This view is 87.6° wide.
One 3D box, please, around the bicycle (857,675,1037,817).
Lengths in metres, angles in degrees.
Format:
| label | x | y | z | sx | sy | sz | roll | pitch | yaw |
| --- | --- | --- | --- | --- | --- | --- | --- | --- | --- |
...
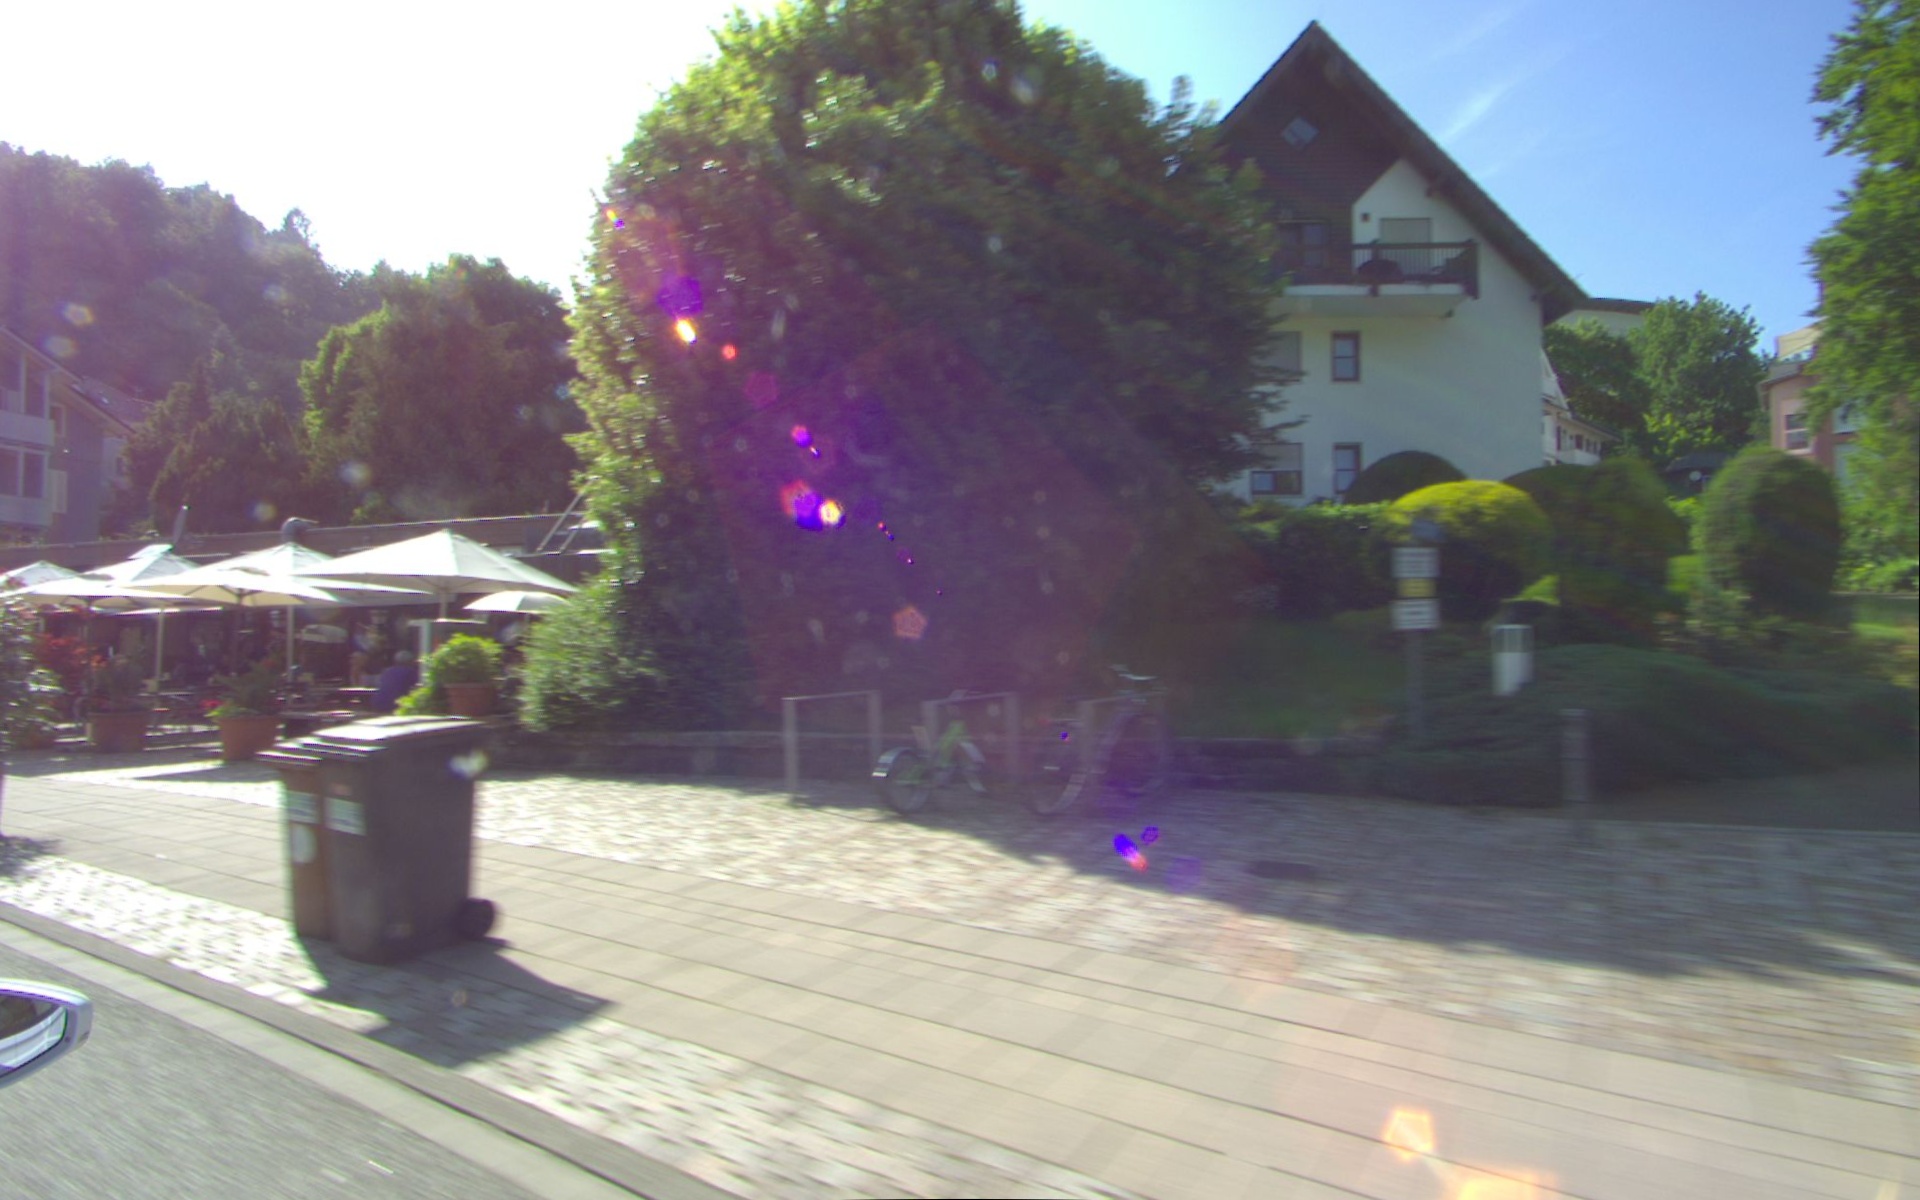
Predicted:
| label | x | y | z | sx | sy | sz | roll | pitch | yaw |
| --- | --- | --- | --- | --- | --- | --- | --- | --- | --- |
| bicycle | -0.070 | 1.122 | 7.986 | 1.530 | 0.921 | 0.381 | -2 | 1 | -40 |

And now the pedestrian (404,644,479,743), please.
| label | x | y | z | sx | sy | sz | roll | pitch | yaw |
| --- | --- | --- | --- | --- | --- | --- | --- | --- | --- |
| pedestrian | -7.164 | 1.276 | 13.852 | 0.633 | 1.301 | 0.649 | -1 | 0 | 16 |

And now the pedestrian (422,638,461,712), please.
| label | x | y | z | sx | sy | sz | roll | pitch | yaw |
| --- | --- | --- | --- | --- | --- | --- | --- | --- | --- |
| pedestrian | -9.259 | 1.332 | 17.883 | 0.500 | 1.284 | 0.408 | -1 | 0 | 28 |

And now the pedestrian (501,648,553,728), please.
| label | x | y | z | sx | sy | sz | roll | pitch | yaw |
| --- | --- | --- | --- | --- | --- | --- | --- | --- | --- |
| pedestrian | -7.046 | 1.418 | 16.299 | 0.690 | 1.247 | 0.505 | -1 | 0 | 37 |

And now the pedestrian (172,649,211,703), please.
| label | x | y | z | sx | sy | sz | roll | pitch | yaw |
| --- | --- | --- | --- | --- | --- | --- | --- | --- | --- |
| pedestrian | -17.941 | 1.765 | 23.377 | 0.680 | 1.224 | 0.694 | 0 | -1 | -41 |

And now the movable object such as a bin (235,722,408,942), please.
| label | x | y | z | sx | sy | sz | roll | pitch | yaw |
| --- | --- | --- | --- | --- | --- | --- | --- | --- | --- |
| movable object such as a bin | -3.138 | 1.104 | 4.932 | 0.554 | 0.924 | 0.524 | 0 | 0 | 30 |

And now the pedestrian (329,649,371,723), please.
| label | x | y | z | sx | sy | sz | roll | pitch | yaw |
| --- | --- | --- | --- | --- | --- | --- | --- | --- | --- |
| pedestrian | -10.974 | 1.538 | 18.021 | 0.432 | 1.282 | 0.470 | -1 | 0 | 14 |

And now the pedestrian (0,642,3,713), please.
| label | x | y | z | sx | sy | sz | roll | pitch | yaw |
| --- | --- | --- | --- | --- | --- | --- | --- | --- | --- |
| pedestrian | -19.064 | 1.507 | 19.185 | 0.797 | 1.399 | 0.700 | 0 | -1 | -13 |

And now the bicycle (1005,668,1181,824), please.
| label | x | y | z | sx | sy | sz | roll | pitch | yaw |
| --- | --- | --- | --- | --- | --- | --- | --- | --- | --- |
| bicycle | 1.044 | 1.067 | 7.636 | 1.530 | 0.996 | 0.381 | -1 | 1 | -40 |

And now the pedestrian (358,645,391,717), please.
| label | x | y | z | sx | sy | sz | roll | pitch | yaw |
| --- | --- | --- | --- | --- | --- | --- | --- | --- | --- |
| pedestrian | -10.555 | 1.447 | 18.046 | 0.464 | 1.248 | 0.388 | 0 | 0 | -37 |

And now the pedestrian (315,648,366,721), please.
| label | x | y | z | sx | sy | sz | roll | pitch | yaw |
| --- | --- | --- | --- | --- | --- | --- | --- | --- | --- |
| pedestrian | -11.492 | 1.553 | 18.590 | 0.598 | 1.321 | 0.530 | -1 | 0 | 14 |

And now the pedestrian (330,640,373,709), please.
| label | x | y | z | sx | sy | sz | roll | pitch | yaw |
| --- | --- | --- | --- | --- | --- | --- | --- | --- | --- |
| pedestrian | -11.872 | 1.438 | 19.554 | 0.570 | 1.299 | 0.637 | -1 | 0 | -19 |

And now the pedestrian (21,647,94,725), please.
| label | x | y | z | sx | sy | sz | roll | pitch | yaw |
| --- | --- | --- | --- | --- | --- | --- | --- | --- | --- |
| pedestrian | -15.446 | 1.455 | 17.148 | 0.691 | 1.277 | 0.807 | -1 | -1 | 36 |

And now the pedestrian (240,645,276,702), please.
| label | x | y | z | sx | sy | sz | roll | pitch | yaw |
| --- | --- | --- | --- | --- | --- | --- | --- | --- | --- |
| pedestrian | -16.908 | 1.759 | 24.129 | 0.678 | 1.316 | 0.633 | 0 | -1 | -33 |

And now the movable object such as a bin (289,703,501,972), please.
| label | x | y | z | sx | sy | sz | roll | pitch | yaw |
| --- | --- | --- | --- | --- | --- | --- | --- | --- | --- |
| movable object such as a bin | -2.584 | 1.036 | 4.608 | 0.563 | 1.046 | 0.655 | 0 | 0 | 30 |

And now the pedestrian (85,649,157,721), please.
| label | x | y | z | sx | sy | sz | roll | pitch | yaw |
| --- | --- | --- | --- | --- | --- | --- | --- | --- | --- |
| pedestrian | -15.434 | 1.544 | 18.440 | 0.798 | 1.277 | 0.699 | 0 | -1 | -18 |

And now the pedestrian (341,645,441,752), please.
| label | x | y | z | sx | sy | sz | roll | pitch | yaw |
| --- | --- | --- | --- | --- | --- | --- | --- | --- | --- |
| pedestrian | -7.359 | 1.244 | 12.986 | 0.633 | 1.301 | 0.950 | -1 | 0 | 15 |

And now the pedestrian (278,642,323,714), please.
| label | x | y | z | sx | sy | sz | roll | pitch | yaw |
| --- | --- | --- | --- | --- | --- | --- | --- | --- | --- |
| pedestrian | -12.589 | 1.480 | 19.129 | 0.570 | 1.321 | 0.637 | -1 | 0 | -19 |

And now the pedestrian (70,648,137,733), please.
| label | x | y | z | sx | sy | sz | roll | pitch | yaw |
| --- | --- | --- | --- | --- | --- | --- | --- | --- | --- |
| pedestrian | -13.111 | 1.373 | 15.338 | 0.582 | 1.261 | 0.473 | -2 | 0 | 1 |
